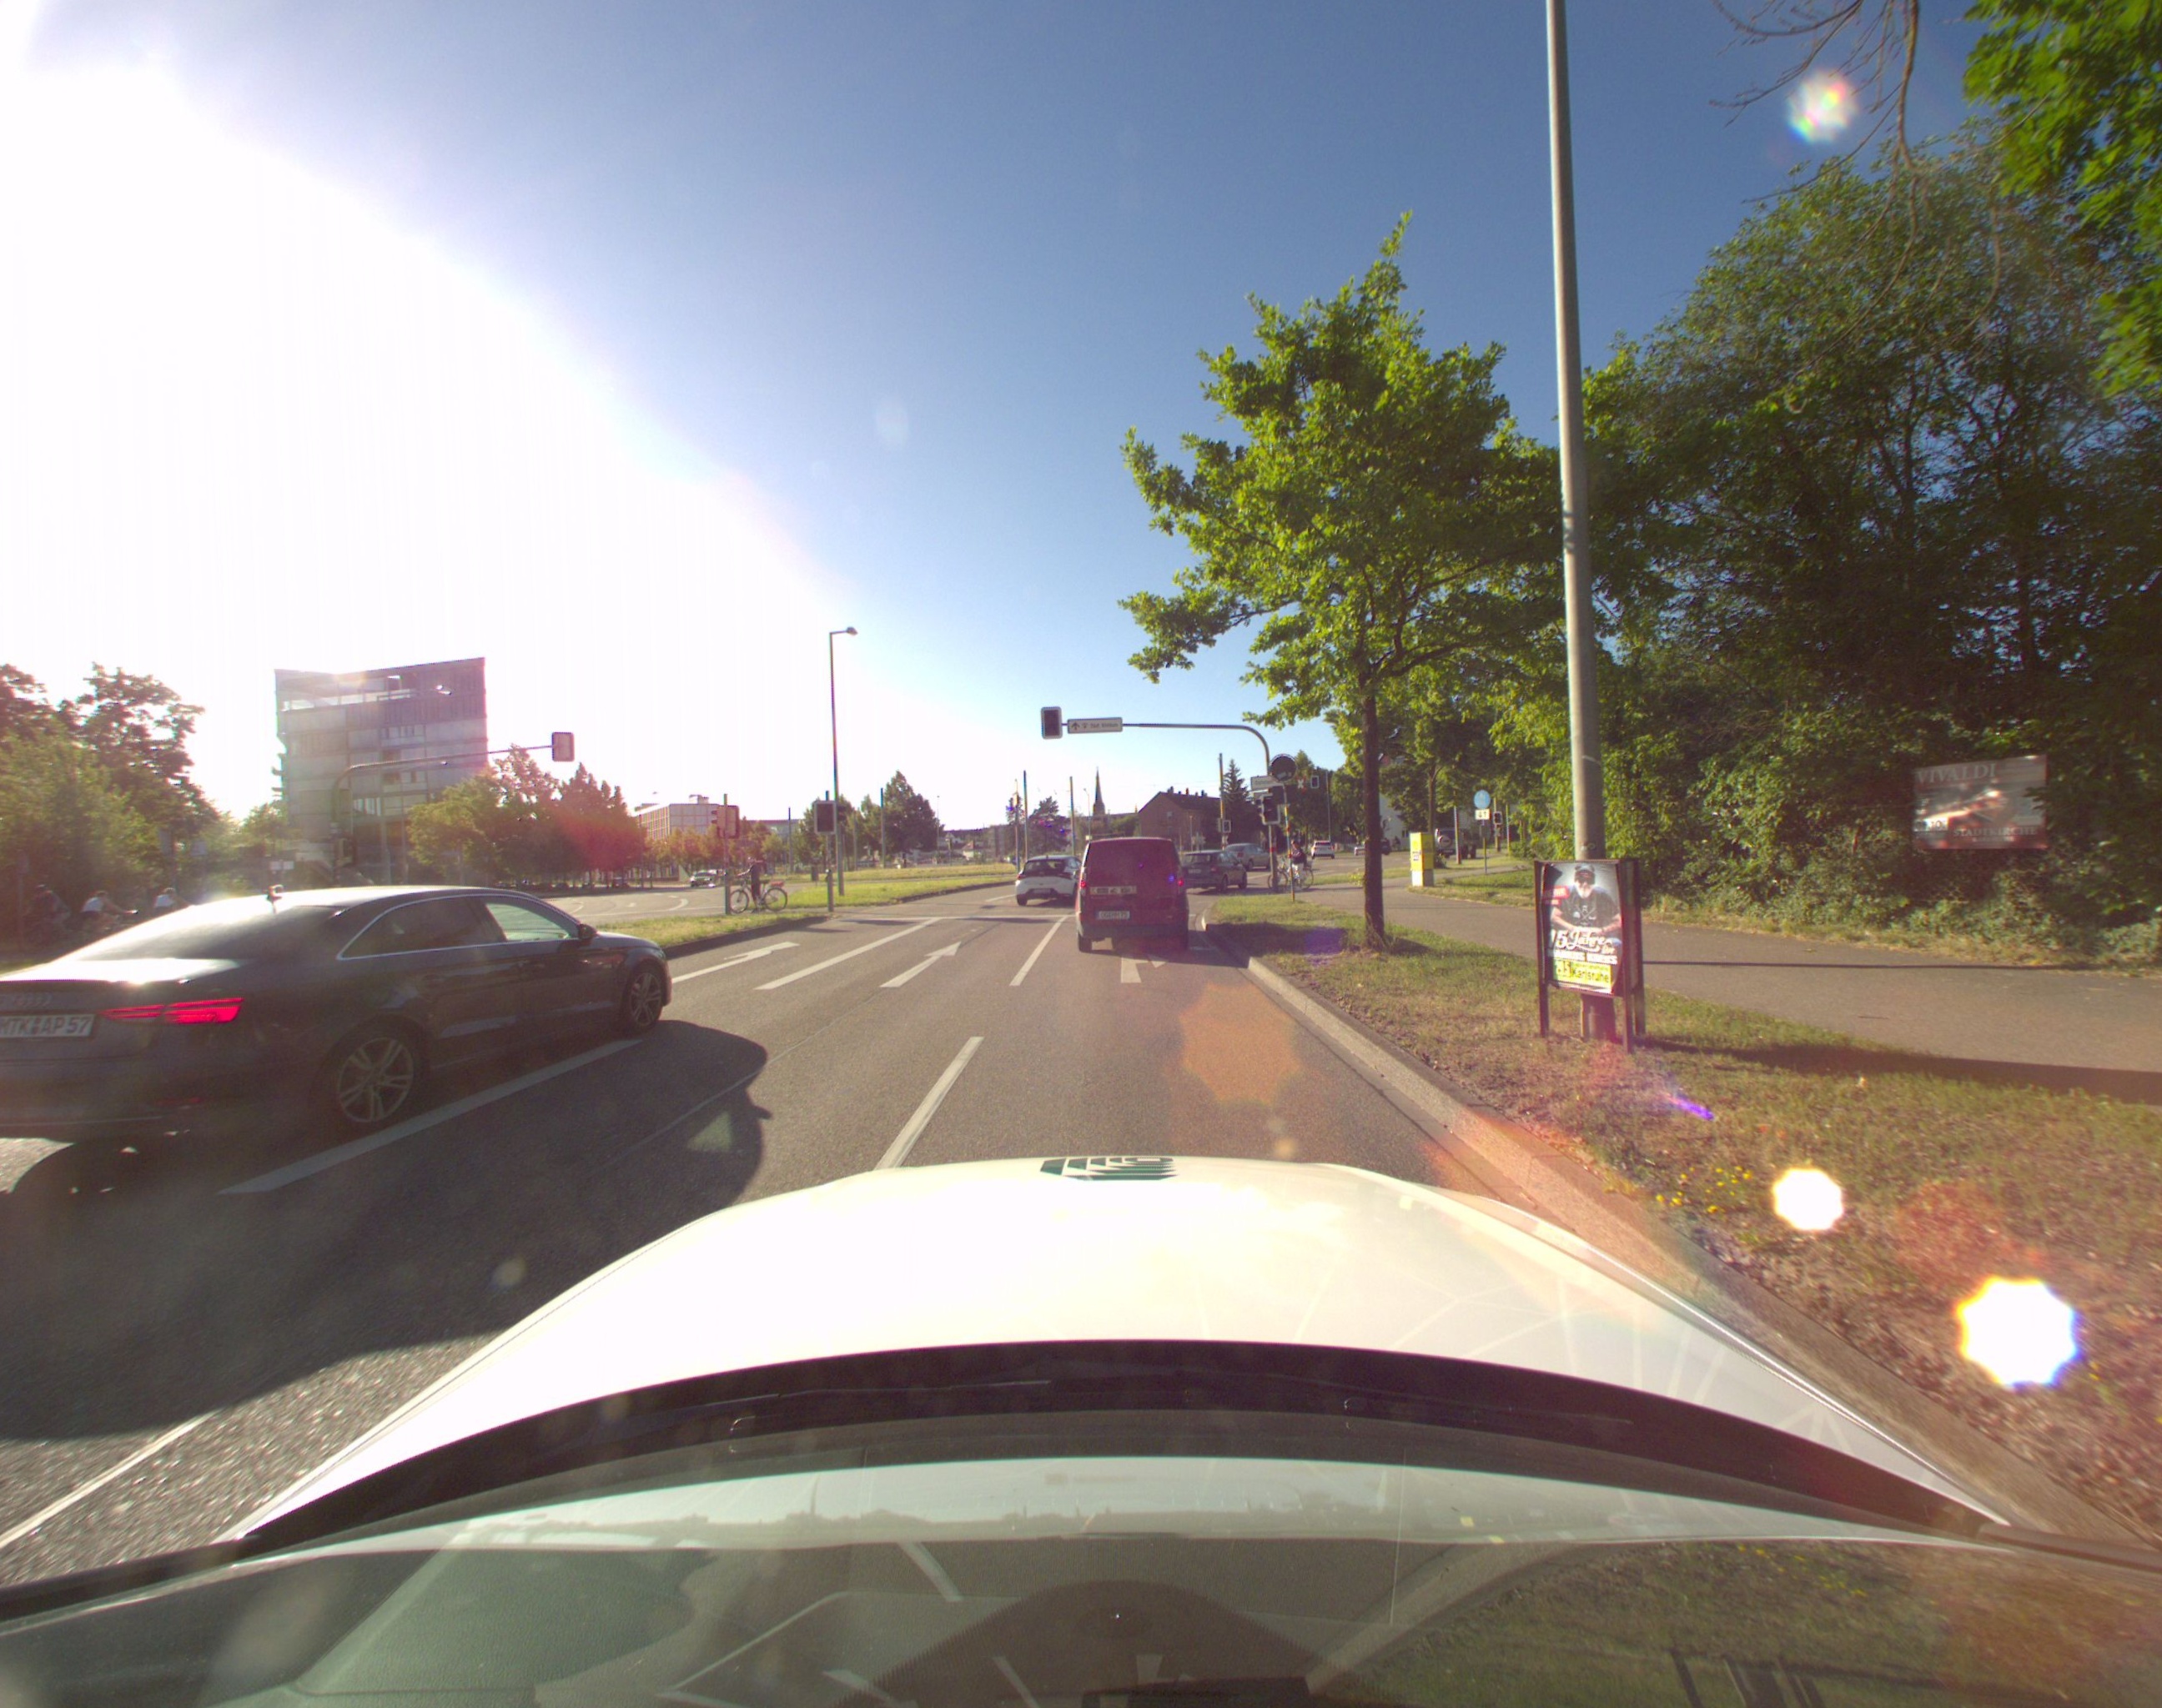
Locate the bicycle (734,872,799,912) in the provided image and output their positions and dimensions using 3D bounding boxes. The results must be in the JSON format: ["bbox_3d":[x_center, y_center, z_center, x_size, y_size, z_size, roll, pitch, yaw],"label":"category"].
[{"bbox_3d":[-9.379,1.121,24.325,1.649,1.128,0.702,-2,-1,-8],"label":"bicycle"}]

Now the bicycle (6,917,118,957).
[{"bbox_3d":[-27.658,2.226,22.150,0.487,0.852,1.892,-3,0,6],"label":"bicycle"}]

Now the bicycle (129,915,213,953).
[{"bbox_3d":[-25.610,2.229,22.975,0.616,0.852,1.879,-3,0,-15],"label":"bicycle"}]

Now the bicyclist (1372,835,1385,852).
[{"bbox_3d":[34.384,-1.198,94.079,0.887,1.852,1.016,0,-2,-31],"label":"bicyclist"}]

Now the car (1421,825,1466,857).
[{"bbox_3d":[23.034,-0.780,51.867,1.981,1.897,4.773,-2,-1,17],"label":"car"}]

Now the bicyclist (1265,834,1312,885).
[{"bbox_3d":[6.774,0.194,26.554,1.088,1.562,0.870,-3,-1,-21],"label":"bicyclist"}]

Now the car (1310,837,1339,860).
[{"bbox_3d":[19.160,-0.474,63.957,1.977,1.639,4.429,-3,0,18],"label":"car"}]

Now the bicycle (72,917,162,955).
[{"bbox_3d":[-26.594,2.239,22.515,0.616,0.852,1.879,-3,0,-15],"label":"bicycle"}]

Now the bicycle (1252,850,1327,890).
[{"bbox_3d":[6.814,0.523,26.561,2.218,1.155,0.870,-4,-1,-22],"label":"bicycle"}]

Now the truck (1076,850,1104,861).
[{"bbox_3d":[1.846,0.381,163.941,2.181,2.014,6.363,0,-1,-37],"label":"truck"}]

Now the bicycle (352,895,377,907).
[{"bbox_3d":[-63.893,4.154,72.577,2.236,0.988,0.666,-3,0,21],"label":"bicycle"}]

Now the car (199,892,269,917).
[{"bbox_3d":[-72.028,4.253,69.322,1.824,1.805,3.749,-3,0,5],"label":"car"}]

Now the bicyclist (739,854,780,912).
[{"bbox_3d":[-9.585,0.858,24.291,0.939,1.663,0.702,-2,-1,-8],"label":"bicyclist"}]

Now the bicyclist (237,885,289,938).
[{"bbox_3d":[-24.673,1.736,24.567,0.917,1.517,0.619,-3,0,8],"label":"bicyclist"}]

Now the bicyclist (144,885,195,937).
[{"bbox_3d":[-25.643,1.591,22.926,0.616,1.392,0.715,-3,0,-15],"label":"bicyclist"}]

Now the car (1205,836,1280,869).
[{"bbox_3d":[8.883,-0.091,44.553,1.974,1.575,4.436,-3,0,41],"label":"car"}]

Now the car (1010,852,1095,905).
[{"bbox_3d":[-0.776,0.697,24.964,1.791,1.461,3.820,-1,0,10],"label":"car"}]

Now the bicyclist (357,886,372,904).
[{"bbox_3d":[-63.907,3.646,72.609,0.825,1.580,0.666,-3,0,21],"label":"bicyclist"}]

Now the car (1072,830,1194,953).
[{"bbox_3d":[0.881,0.564,14.092,1.795,1.813,3.812,-1,0,3],"label":"car"}]

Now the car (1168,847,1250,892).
[{"bbox_3d":[4.596,0.491,28.721,1.698,1.436,4.176,0,1,26],"label":"car"}]

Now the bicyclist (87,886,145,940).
[{"bbox_3d":[-26.610,1.609,22.472,0.616,1.392,0.833,-3,0,-15],"label":"bicyclist"}]

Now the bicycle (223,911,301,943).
[{"bbox_3d":[-24.704,2.203,24.569,1.872,0.852,0.618,-3,0,8],"label":"bicycle"}]

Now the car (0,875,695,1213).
[{"bbox_3d":[-4.807,0.915,5.808,1.752,1.380,4.363,-2,0,4],"label":"car"}]

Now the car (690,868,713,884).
[{"bbox_3d":[-38.229,2.209,82.121,2.012,1.541,4.290,-3,0,-24],"label":"car"}]

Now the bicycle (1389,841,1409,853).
[{"bbox_3d":[35.474,-0.748,90.879,0.818,1.265,2.195,-1,-1,-18],"label":"bicycle"}]

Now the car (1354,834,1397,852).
[{"bbox_3d":[28.103,-1.027,77.950,1.993,1.539,4.395,-3,0,-8],"label":"car"}]

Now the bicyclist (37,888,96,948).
[{"bbox_3d":[-27.672,1.729,22.227,0.429,1.564,0.853,-3,0,6],"label":"bicyclist"}]
